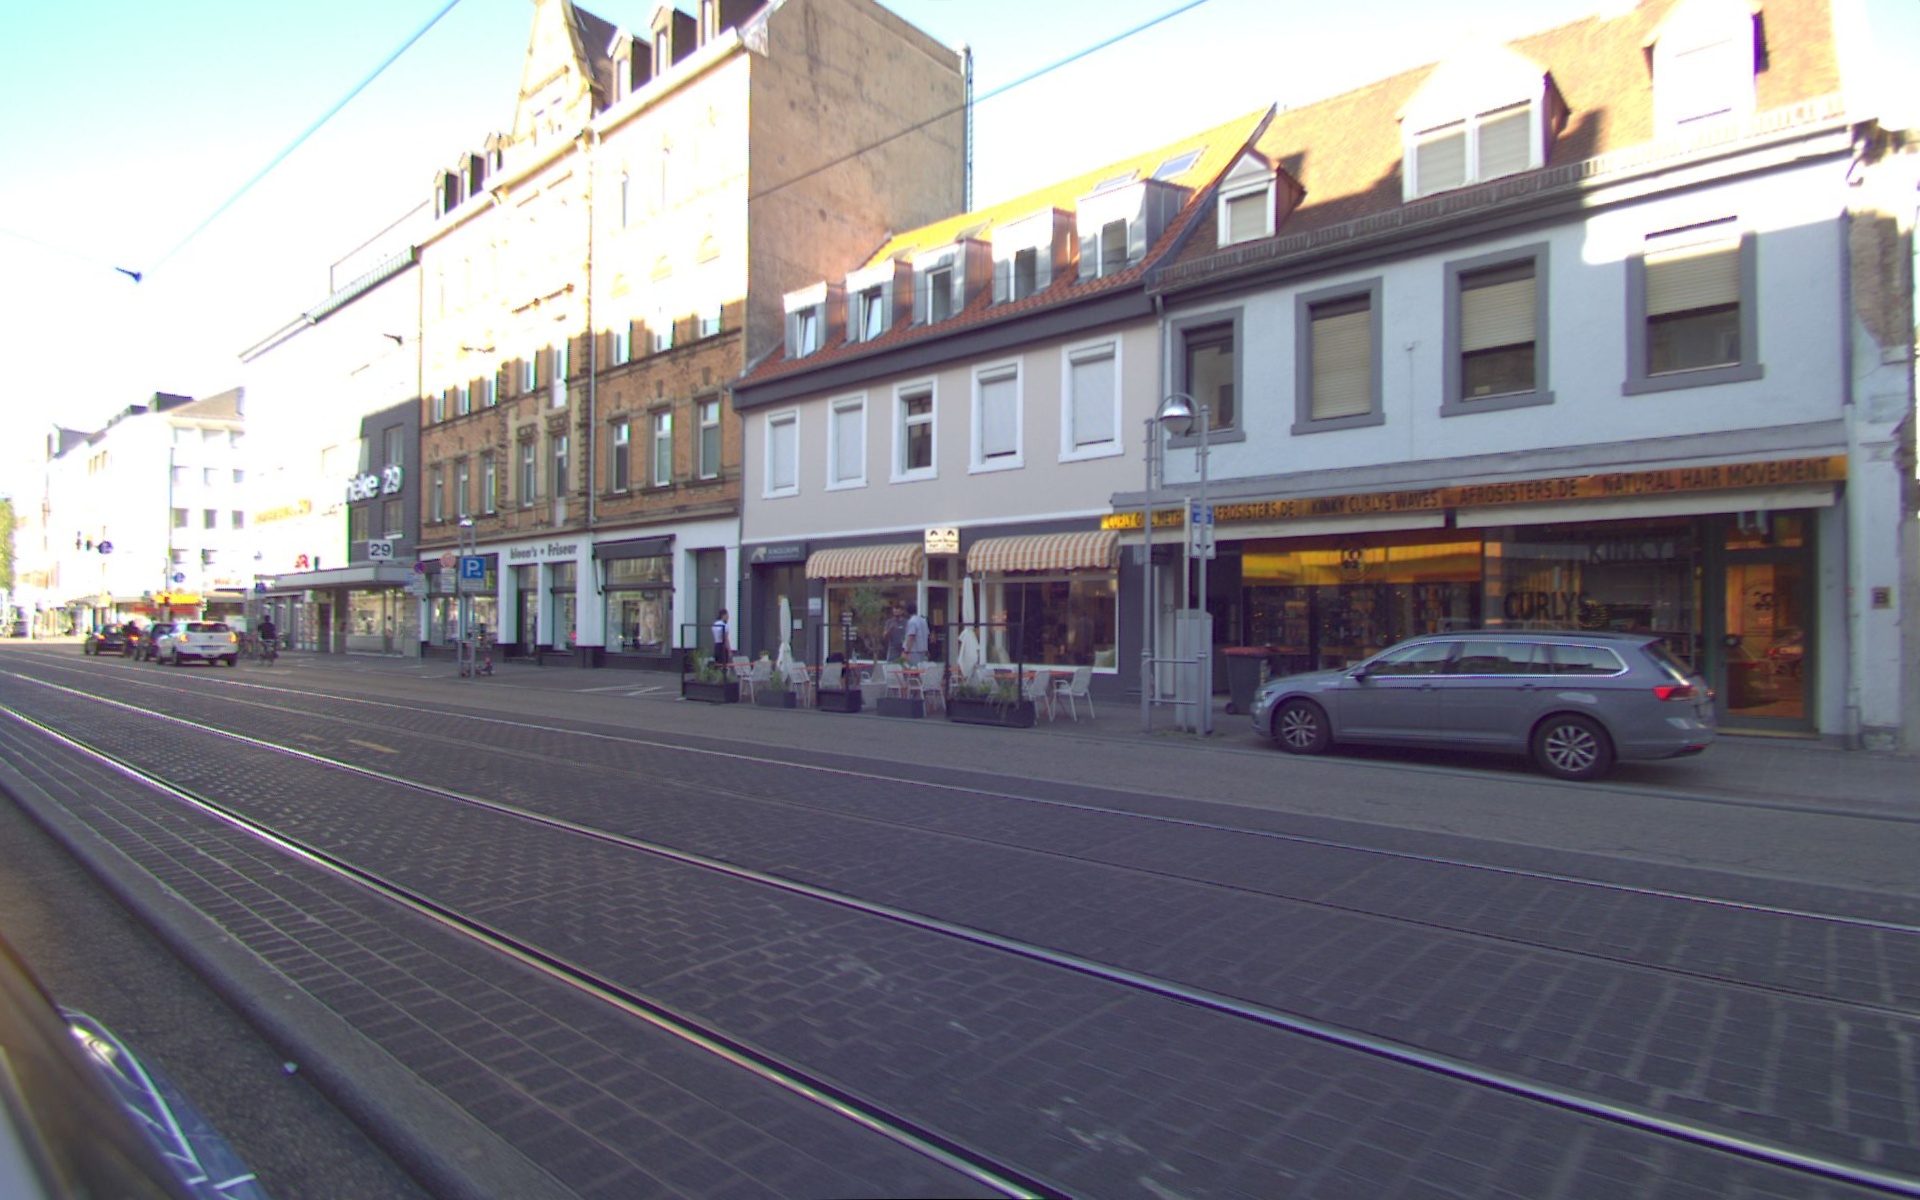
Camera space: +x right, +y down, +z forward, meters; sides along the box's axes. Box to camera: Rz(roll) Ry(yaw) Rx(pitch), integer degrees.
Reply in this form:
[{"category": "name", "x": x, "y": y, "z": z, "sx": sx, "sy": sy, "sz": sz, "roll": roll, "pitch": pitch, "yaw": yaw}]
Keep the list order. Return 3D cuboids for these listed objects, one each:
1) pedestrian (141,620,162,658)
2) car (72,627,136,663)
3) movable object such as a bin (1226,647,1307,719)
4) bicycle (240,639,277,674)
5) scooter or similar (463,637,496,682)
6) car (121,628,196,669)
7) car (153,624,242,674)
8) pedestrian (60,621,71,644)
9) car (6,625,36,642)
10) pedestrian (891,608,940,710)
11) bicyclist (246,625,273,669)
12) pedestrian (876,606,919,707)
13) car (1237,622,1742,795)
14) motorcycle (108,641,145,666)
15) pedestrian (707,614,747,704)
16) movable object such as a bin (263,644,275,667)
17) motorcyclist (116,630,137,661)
[{"category": "pedestrian", "x": -40.182, "y": 1.924, "z": 50.291, "sx": 0.635, "sy": 1.855, "sz": 0.696, "roll": -1, "pitch": 0, "yaw": 41}, {"category": "car", "x": -39.454, "y": 2.061, "z": 46.640, "sx": 3.998, "sy": 1.542, "sz": 1.645, "roll": -1, "pitch": -3, "yaw": 41}, {"category": "movable object such as a bin", "x": 4.850, "y": 1.290, "z": 16.016, "sx": 1.029, "sy": 1.071, "sz": 0.693, "roll": -1, "pitch": -2, "yaw": 41}, {"category": "bicycle", "x": -25.533, "y": 2.045, "z": 36.836, "sx": 2.099, "sy": 1.157, "sz": 0.602, "roll": -1, "pitch": 0, "yaw": 41}, {"category": "scooter or similar", "x": -13.812, "y": 1.701, "z": 29.107, "sx": 1.201, "sy": 1.232, "sz": 0.399, "roll": -1, "pitch": 0, "yaw": 41}, {"category": "car", "x": -32.237, "y": 1.904, "z": 40.669, "sx": 3.998, "sy": 1.542, "sz": 1.645, "roll": -1, "pitch": -3, "yaw": 41}, {"category": "car", "x": -26.995, "y": 1.691, "z": 35.780, "sx": 3.674, "sy": 1.647, "sz": 1.779, "roll": -1, "pitch": -2, "yaw": 41}, {"category": "pedestrian", "x": -77.685, "y": 2.826, "z": 87.904, "sx": 0.620, "sy": 1.965, "sz": 0.661, "roll": -1, "pitch": 0, "yaw": 41}, {"category": "car", "x": -86.669, "y": 3.099, "z": 93.442, "sx": 3.462, "sy": 1.544, "sz": 1.609, "roll": -1, "pitch": -4, "yaw": 41}, {"category": "pedestrian", "x": -0.797, "y": 1.035, "z": 18.160, "sx": 0.580, "sy": 1.775, "sz": 0.651, "roll": -1, "pitch": 0, "yaw": 33}, {"category": "bicyclist", "x": -25.435, "y": 1.694, "z": 36.741, "sx": 0.861, "sy": 1.558, "sz": 0.569, "roll": -1, "pitch": 0, "yaw": 41}, {"category": "pedestrian", "x": -1.187, "y": 1.046, "z": 19.103, "sx": 0.647, "sy": 1.863, "sz": 0.583, "roll": -1, "pitch": 0, "yaw": -19}, {"category": "car", "x": 5.737, "y": 1.031, "z": 11.400, "sx": 4.760, "sy": 1.526, "sz": 1.798, "roll": -1, "pitch": -1, "yaw": 41}, {"category": "motorcycle", "x": -35.655, "y": 2.288, "z": 43.307, "sx": 1.934, "sy": 1.000, "sz": 0.895, "roll": -1, "pitch": -3, "yaw": 41}, {"category": "pedestrian", "x": -4.866, "y": 1.216, "z": 21.144, "sx": 0.572, "sy": 1.819, "sz": 0.660, "roll": -1, "pitch": 0, "yaw": -37}, {"category": "movable object such as a bin", "x": -29.560, "y": 2.358, "z": 43.302, "sx": 0.467, "sy": 0.955, "sz": 0.321, "roll": -1, "pitch": -2, "yaw": 41}, {"category": "motorcyclist", "x": -35.679, "y": 1.964, "z": 43.330, "sx": 0.655, "sy": 1.313, "sz": 0.533, "roll": -1, "pitch": -3, "yaw": 41}]
